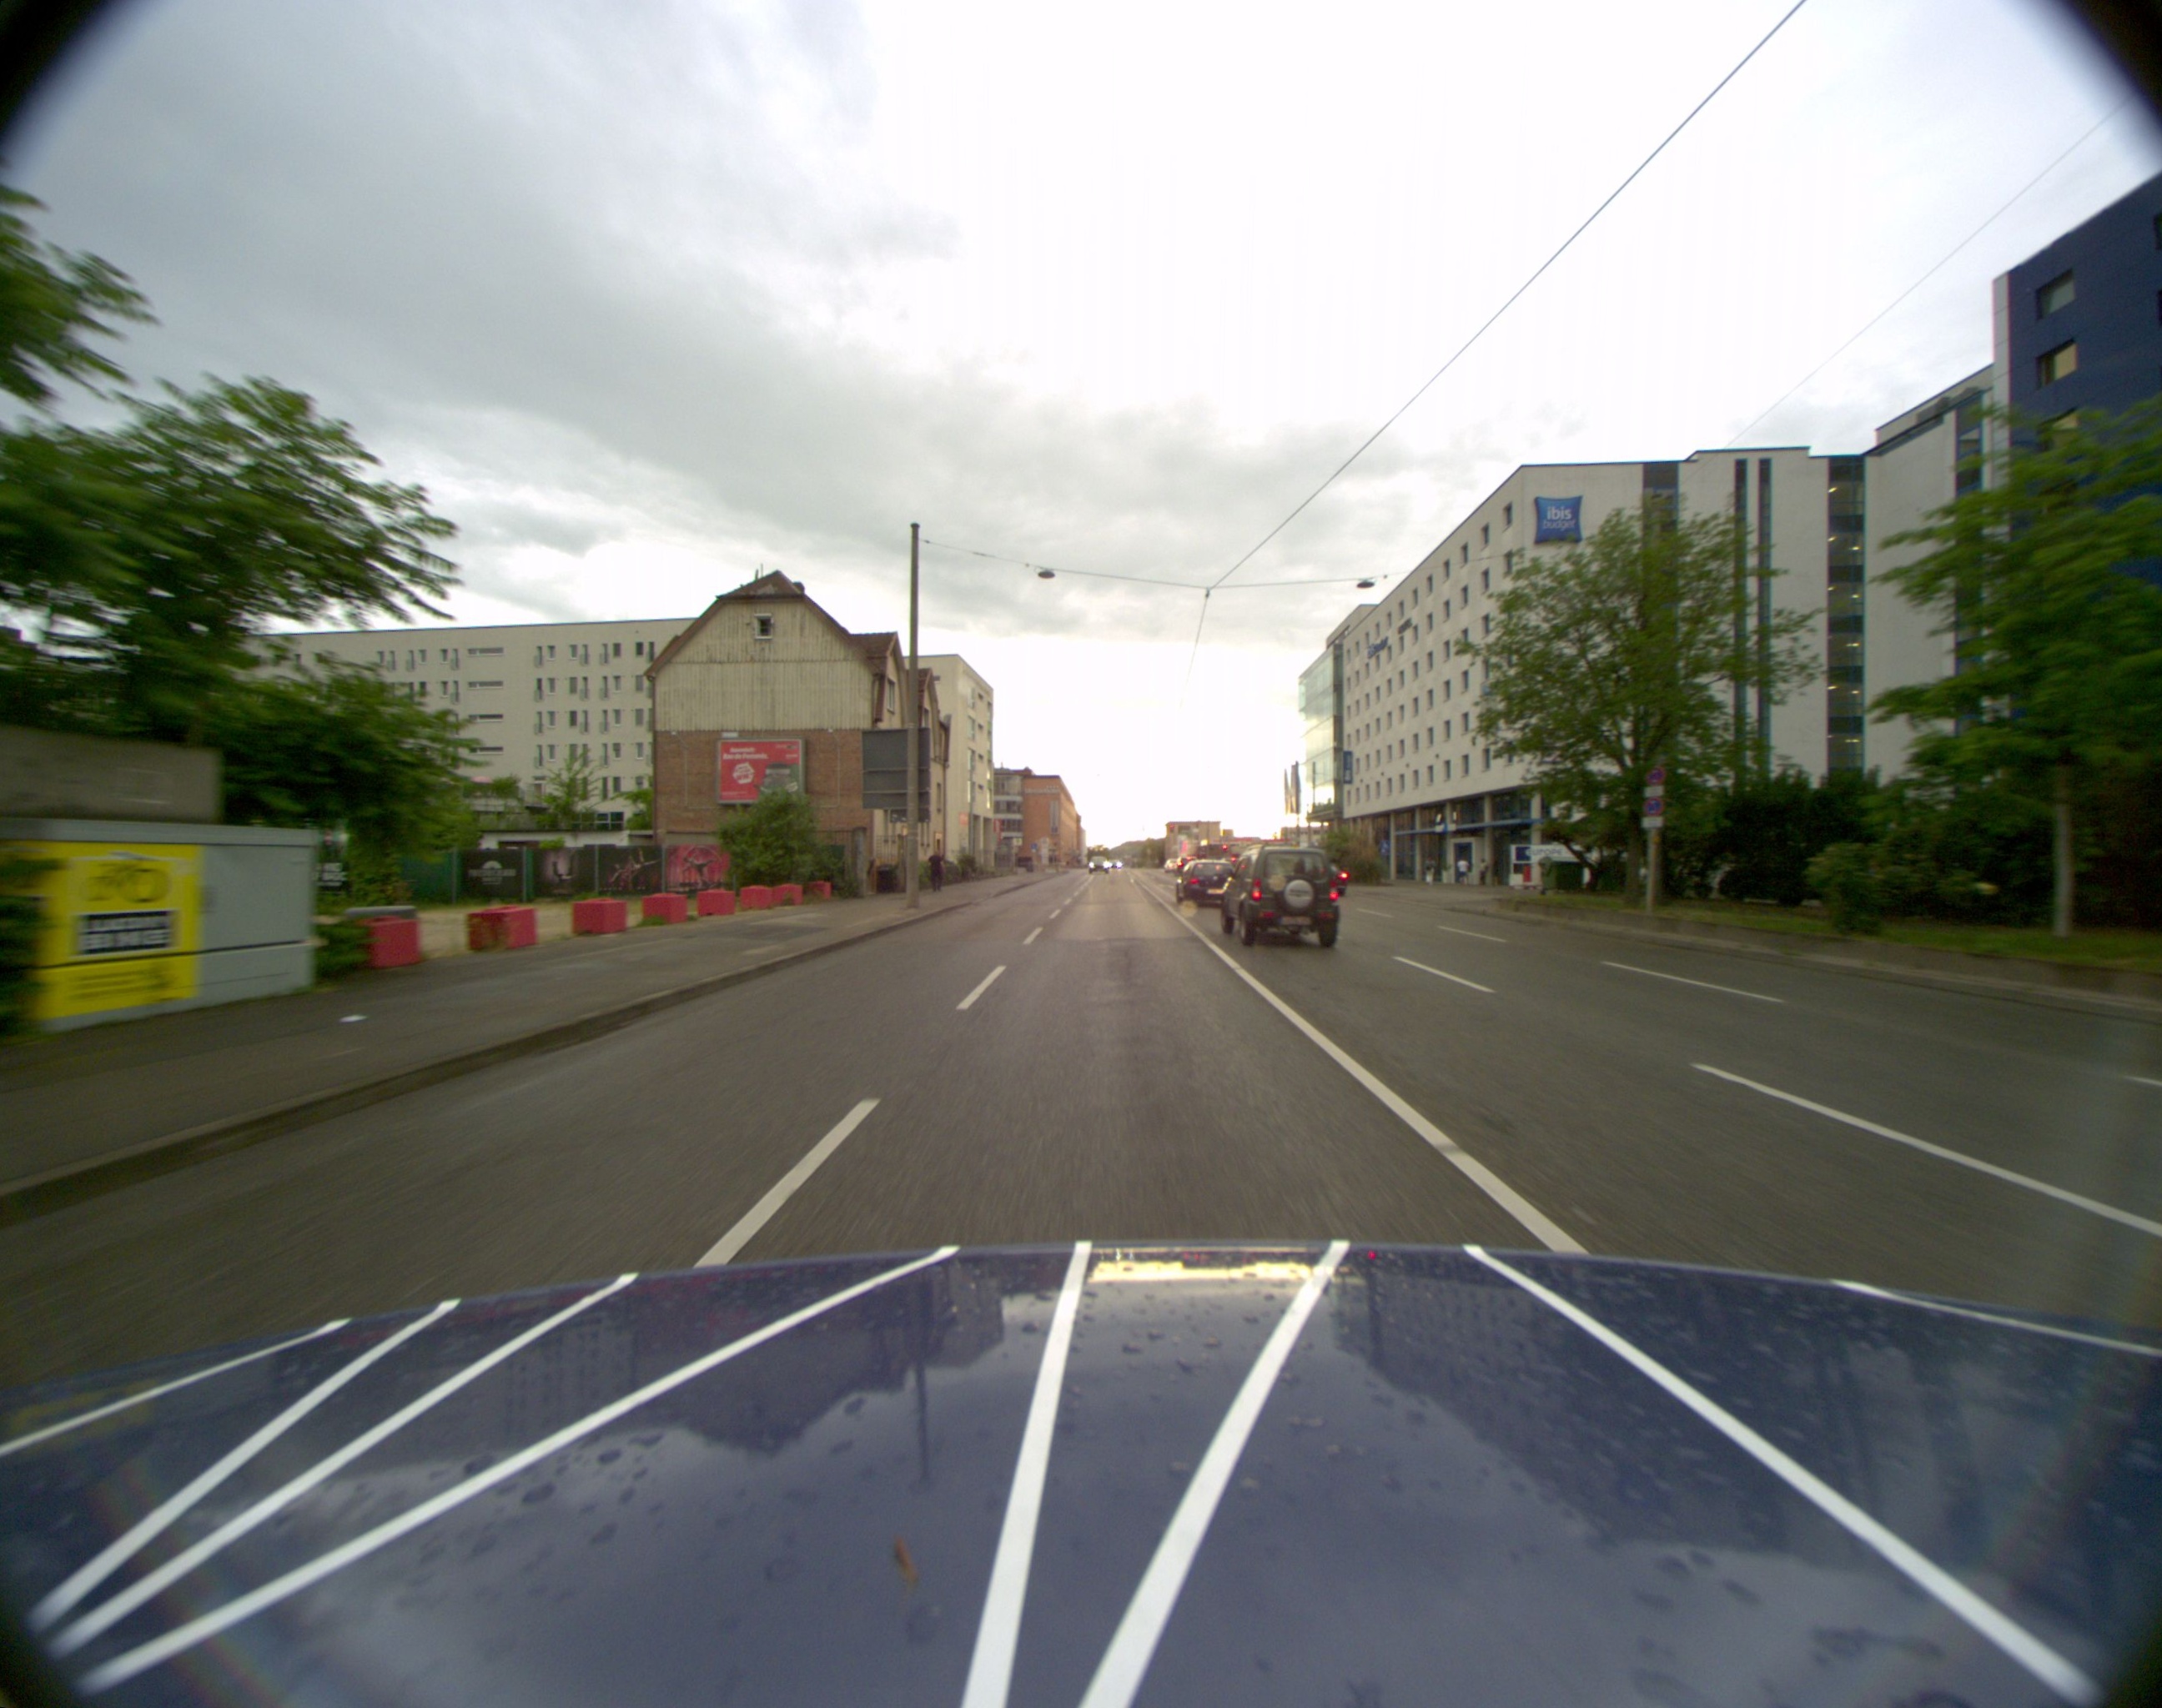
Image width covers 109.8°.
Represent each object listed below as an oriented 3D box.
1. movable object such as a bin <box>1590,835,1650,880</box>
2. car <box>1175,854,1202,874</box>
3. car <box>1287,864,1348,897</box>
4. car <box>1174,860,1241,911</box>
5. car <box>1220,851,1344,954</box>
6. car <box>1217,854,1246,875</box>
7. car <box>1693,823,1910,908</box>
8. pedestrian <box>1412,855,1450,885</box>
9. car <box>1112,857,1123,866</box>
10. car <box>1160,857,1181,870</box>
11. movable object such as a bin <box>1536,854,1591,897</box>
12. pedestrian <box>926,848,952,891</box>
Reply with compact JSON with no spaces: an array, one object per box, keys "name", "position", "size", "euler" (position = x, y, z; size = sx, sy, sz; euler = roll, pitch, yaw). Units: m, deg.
[{"name":"movable object such as a bin","position":[18.876,0.101,26.663],"size":[1.392,1.482,0.952],"euler":[3,2,13]},{"name":"car","position":[9.107,0.876,64.745],"size":[1.760,1.546,4.452],"euler":[2,-1,2]},{"name":"car","position":[10.572,1.149,34.252],"size":[1.625,1.316,4.448],"euler":[2,0,4]},{"name":"car","position":[4.023,0.966,24.639],"size":[1.663,1.477,3.820],"euler":[0,0,2]},{"name":"car","position":[3.563,0.811,14.000],"size":[1.506,1.656,3.421],"euler":[0,-1,2]},{"name":"car","position":[12.258,0.873,62.206],"size":[1.712,1.557,4.035],"euler":[2,-1,3]},{"name":"car","position":[19.411,0.212,20.811],"size":[1.840,2.002,4.315],"euler":[2,2,2]},{"name":"pedestrian","position":[20.962,0.965,45.581],"size":[1.995,1.710,1.698],"euler":[-1,-1,22]},{"name":"car","position":[6.299,1.259,131.217],"size":[1.964,1.516,4.263],"euler":[-1,0,2]},{"name":"car","position":[9.563,0.990,81.273],"size":[1.821,1.379,4.963],"euler":[0,0,2]},{"name":"movable object such as a bin","position":[17.465,0.802,27.530],"size":[1.394,1.481,0.951],"euler":[2,-2,-4]},{"name":"pedestrian","position":[-6.080,0.655,32.578],"size":[0.915,1.754,0.766],"euler":[-3,2,-19]}]
